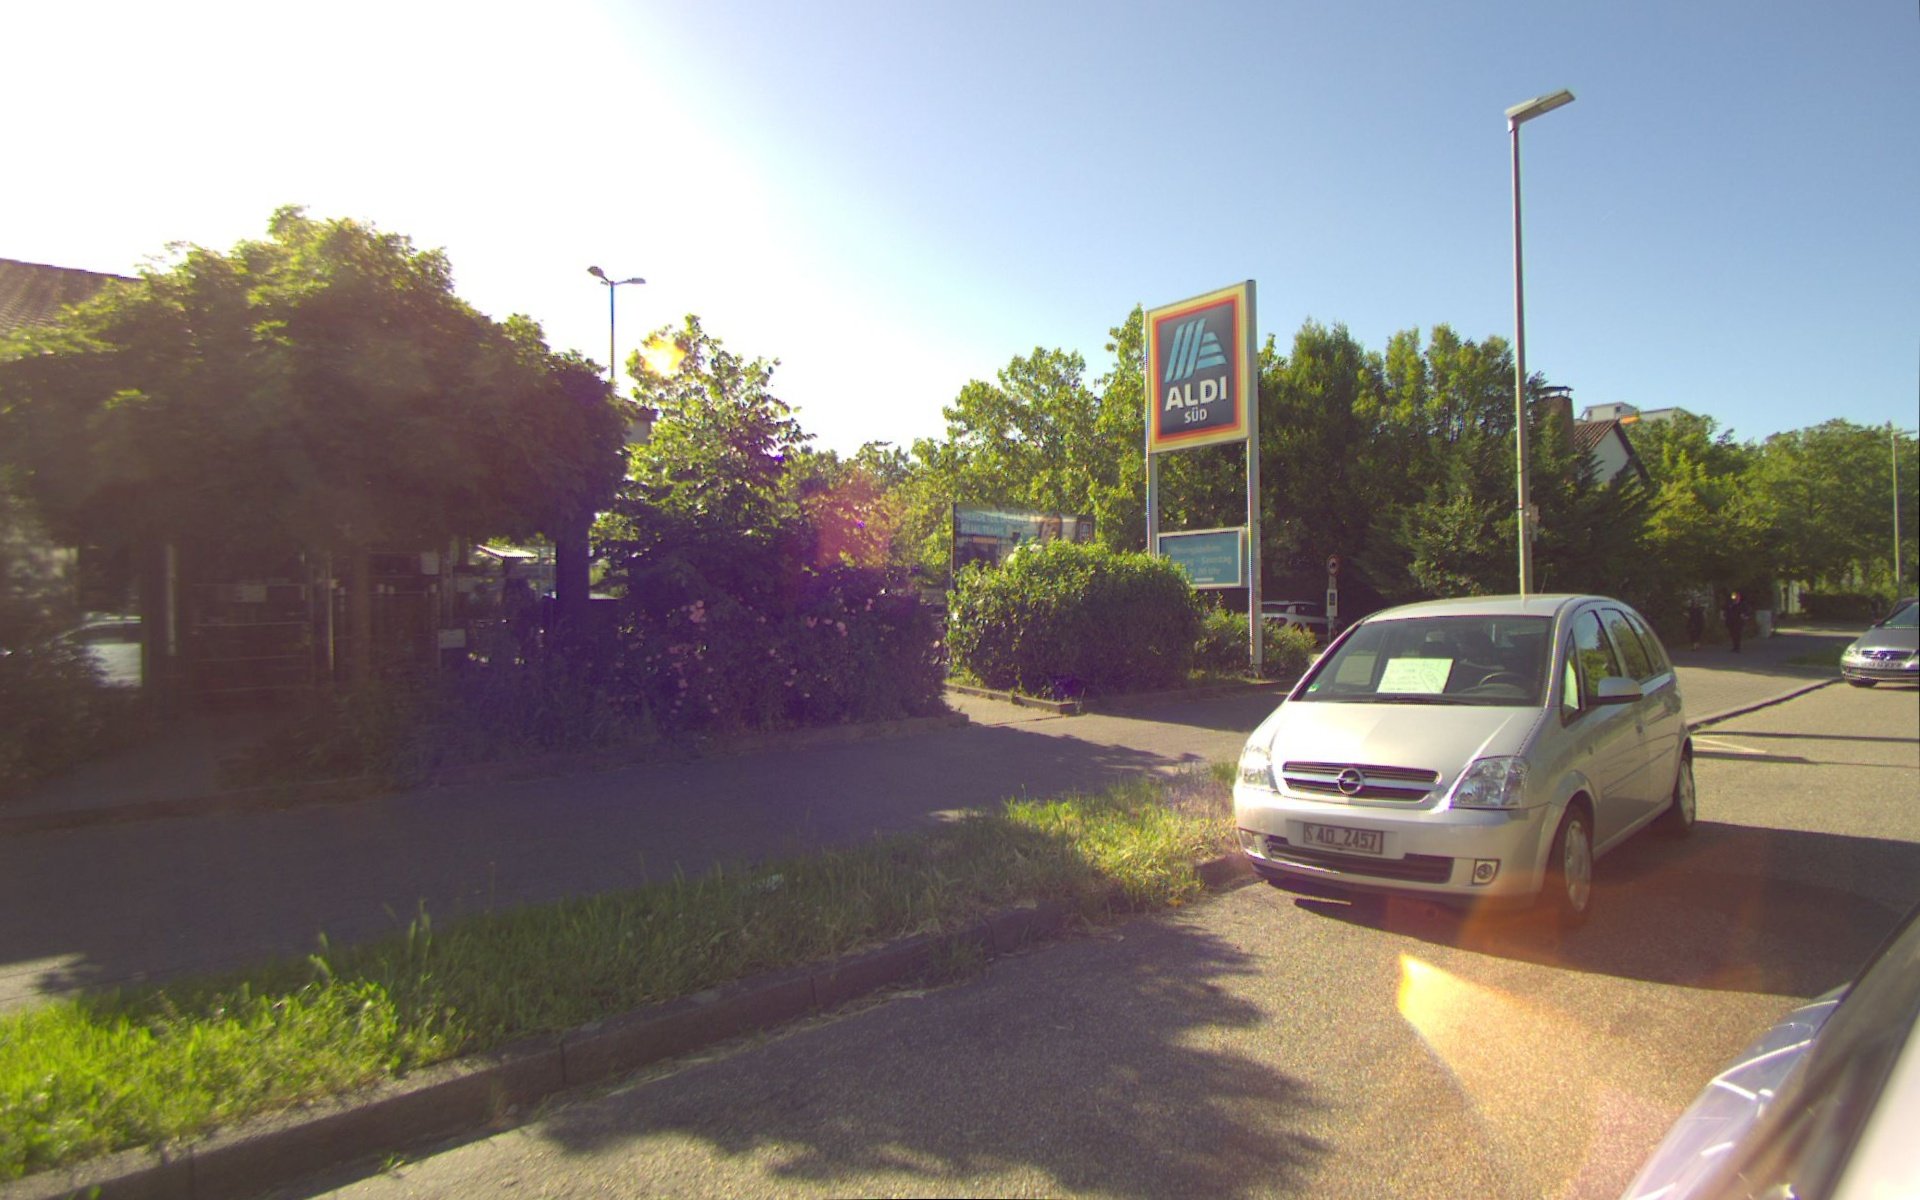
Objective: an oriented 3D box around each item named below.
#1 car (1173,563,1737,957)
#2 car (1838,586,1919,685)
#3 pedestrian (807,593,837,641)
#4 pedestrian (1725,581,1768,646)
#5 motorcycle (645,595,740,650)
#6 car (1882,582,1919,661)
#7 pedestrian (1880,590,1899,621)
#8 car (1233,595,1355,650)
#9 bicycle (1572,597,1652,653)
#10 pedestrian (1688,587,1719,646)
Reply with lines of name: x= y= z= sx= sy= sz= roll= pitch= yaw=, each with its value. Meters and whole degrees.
car: x=3.198 y=0.670 z=6.150 sx=3.960 sy=1.620 sz=1.681 roll=-1 pitch=-3 yaw=-43
car: x=17.878 y=0.583 z=17.795 sx=3.677 sy=1.666 sz=1.859 roll=0 pitch=0 yaw=-13
pedestrian: x=-4.812 y=0.589 z=35.340 sx=0.814 sy=1.677 sz=0.672 roll=0 pitch=-1 yaw=-42
pedestrian: x=21.702 y=0.350 z=27.929 sx=0.968 sy=1.738 sz=0.804 roll=-2 pitch=2 yaw=-44
motorcycle: x=-7.702 y=0.612 z=29.246 sx=2.552 sy=1.528 sz=0.871 roll=0 pitch=-1 yaw=-41
car: x=24.037 y=0.468 z=24.572 sx=4.571 sy=1.828 sz=1.843 roll=-1 pitch=0 yaw=-40
pedestrian: x=49.670 y=0.281 z=54.088 sx=0.629 sy=1.659 sz=0.641 roll=0 pitch=-1 yaw=-38
car: x=9.955 y=0.624 z=30.070 sx=3.736 sy=1.522 sz=1.775 roll=0 pitch=-1 yaw=-41
bicycle: x=15.572 y=0.573 z=24.175 sx=1.857 sy=1.236 sz=0.724 roll=-1 pitch=2 yaw=-25
pedestrian: x=21.120 y=0.449 z=28.742 sx=0.780 sy=1.629 sz=0.573 roll=-2 pitch=2 yaw=-44
